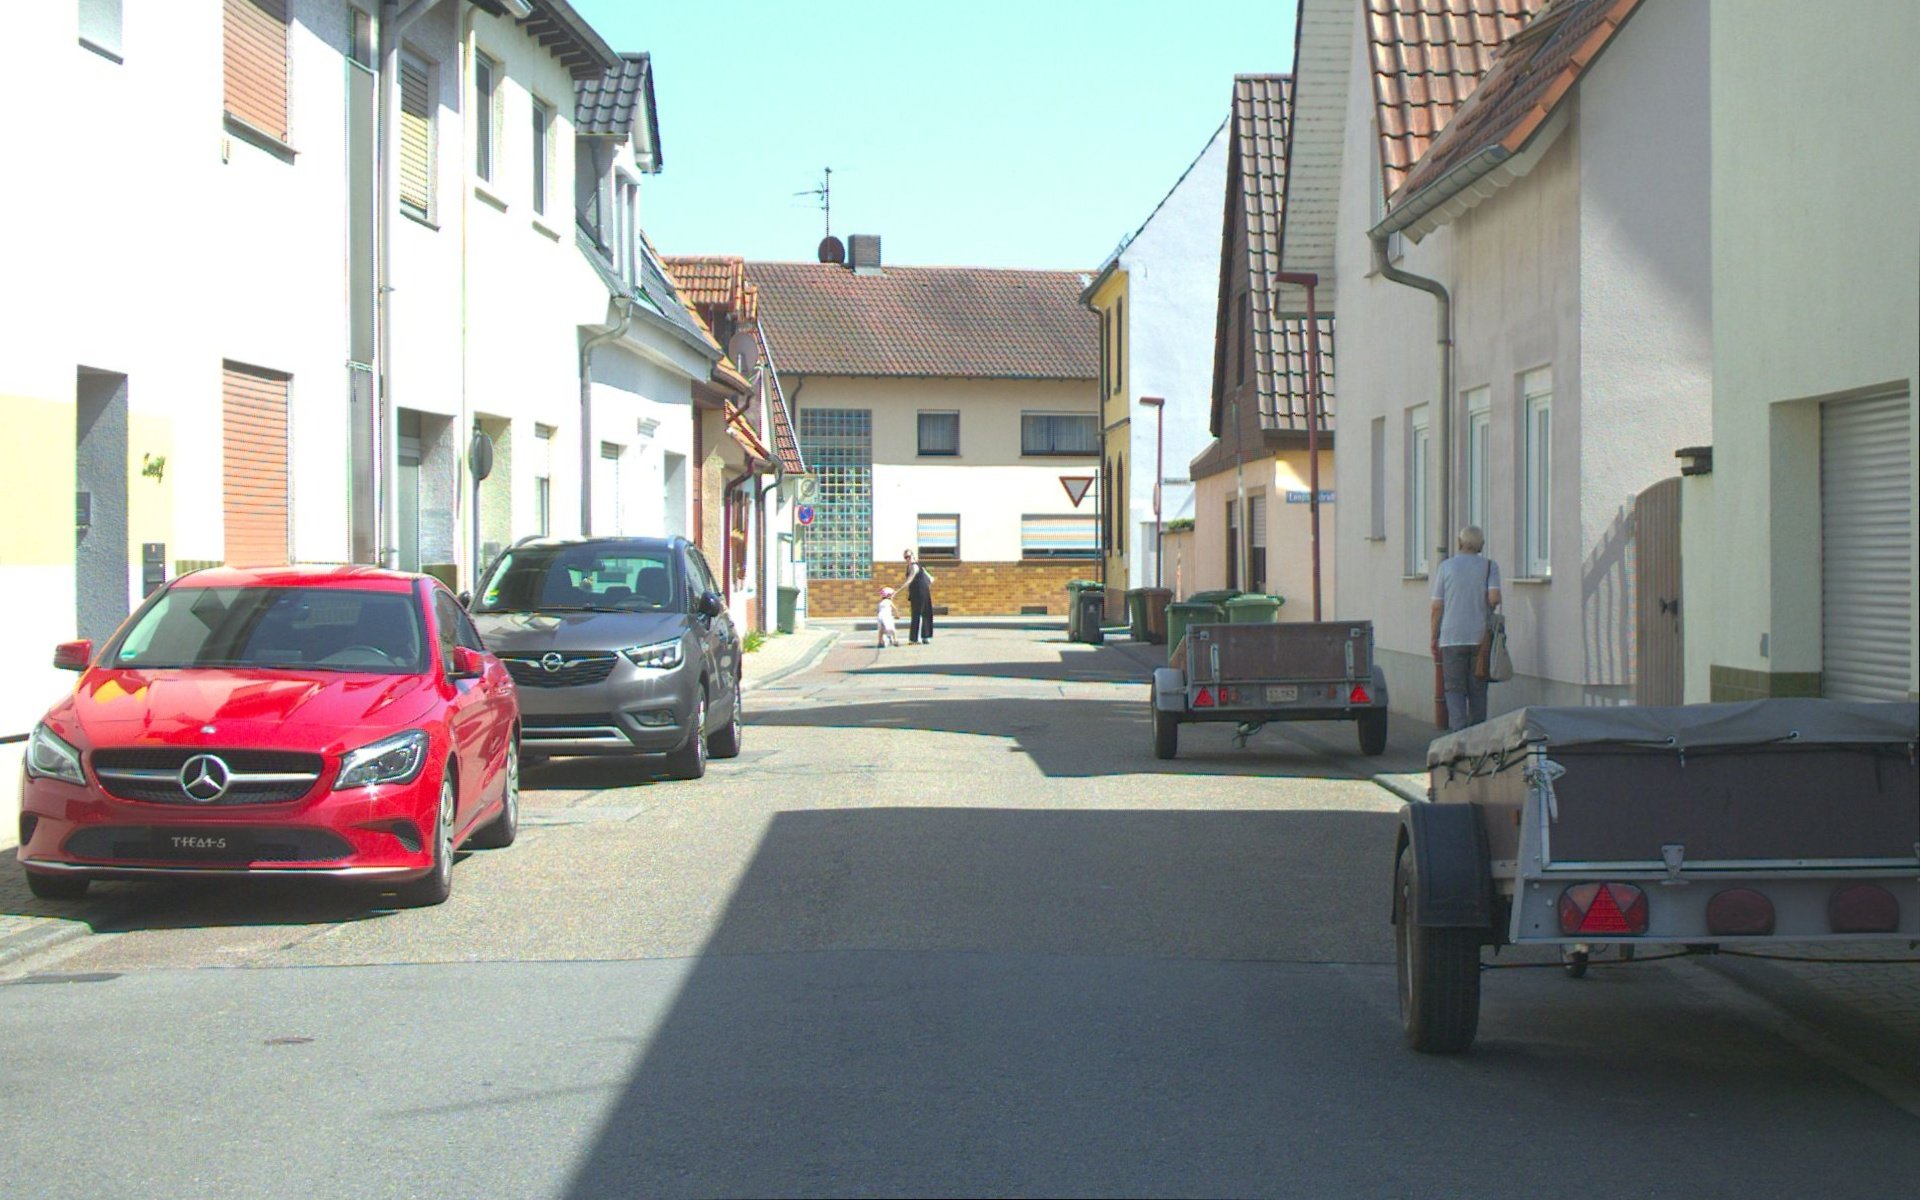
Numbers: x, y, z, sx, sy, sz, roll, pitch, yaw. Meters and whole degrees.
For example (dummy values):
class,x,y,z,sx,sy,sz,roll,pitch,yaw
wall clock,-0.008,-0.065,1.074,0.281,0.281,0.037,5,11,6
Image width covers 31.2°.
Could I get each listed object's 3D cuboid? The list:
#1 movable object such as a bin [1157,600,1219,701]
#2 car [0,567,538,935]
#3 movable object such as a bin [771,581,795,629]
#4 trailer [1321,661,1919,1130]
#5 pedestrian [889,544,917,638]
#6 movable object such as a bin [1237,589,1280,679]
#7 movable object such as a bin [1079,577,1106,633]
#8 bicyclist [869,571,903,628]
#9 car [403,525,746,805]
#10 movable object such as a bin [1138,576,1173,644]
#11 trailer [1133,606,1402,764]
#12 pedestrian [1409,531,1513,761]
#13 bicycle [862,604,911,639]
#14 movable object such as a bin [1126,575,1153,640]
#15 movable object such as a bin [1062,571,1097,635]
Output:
class,x,y,z,sx,sy,sz,roll,pitch,yaw
movable object such as a bin,2.352,0.516,35.529,0.585,1.029,0.595,-1,0,-1
car,-3.079,0.577,15.860,1.800,1.436,4.488,-1,1,-1
movable object such as a bin,-3.425,0.098,66.495,0.448,0.918,0.404,-1,0,-2
trailer,2.183,0.794,10.609,1.817,1.086,3.481,0,1,1
pedestrian,-0.968,-0.151,58.791,0.411,1.604,0.368,-1,0,-9
movable object such as a bin,3.645,0.413,41.985,0.457,1.083,0.502,-1,0,-1
movable object such as a bin,2.330,0.079,60.440,0.424,0.972,0.473,-1,0,-2
bicyclist,-1.249,-0.008,57.973,0.461,0.956,0.352,-1,0,-28
car,-2.538,0.381,23.662,1.800,1.698,4.487,-2,1,0
movable object such as a bin,3.258,0.160,57.302,0.525,1.124,0.366,-1,0,-2
trailer,2.214,0.592,25.528,1.699,1.029,3.481,0,1,0
pedestrian,3.448,0.324,23.690,0.595,1.559,0.557,0,-3,-2
bicycle,-1.243,0.361,57.929,0.441,0.565,0.939,-1,1,-28
movable object such as a bin,3.123,0.135,59.870,0.425,1.124,0.414,-1,0,-2
movable object such as a bin,2.125,0.053,61.050,0.569,1.124,0.453,-1,0,-2
